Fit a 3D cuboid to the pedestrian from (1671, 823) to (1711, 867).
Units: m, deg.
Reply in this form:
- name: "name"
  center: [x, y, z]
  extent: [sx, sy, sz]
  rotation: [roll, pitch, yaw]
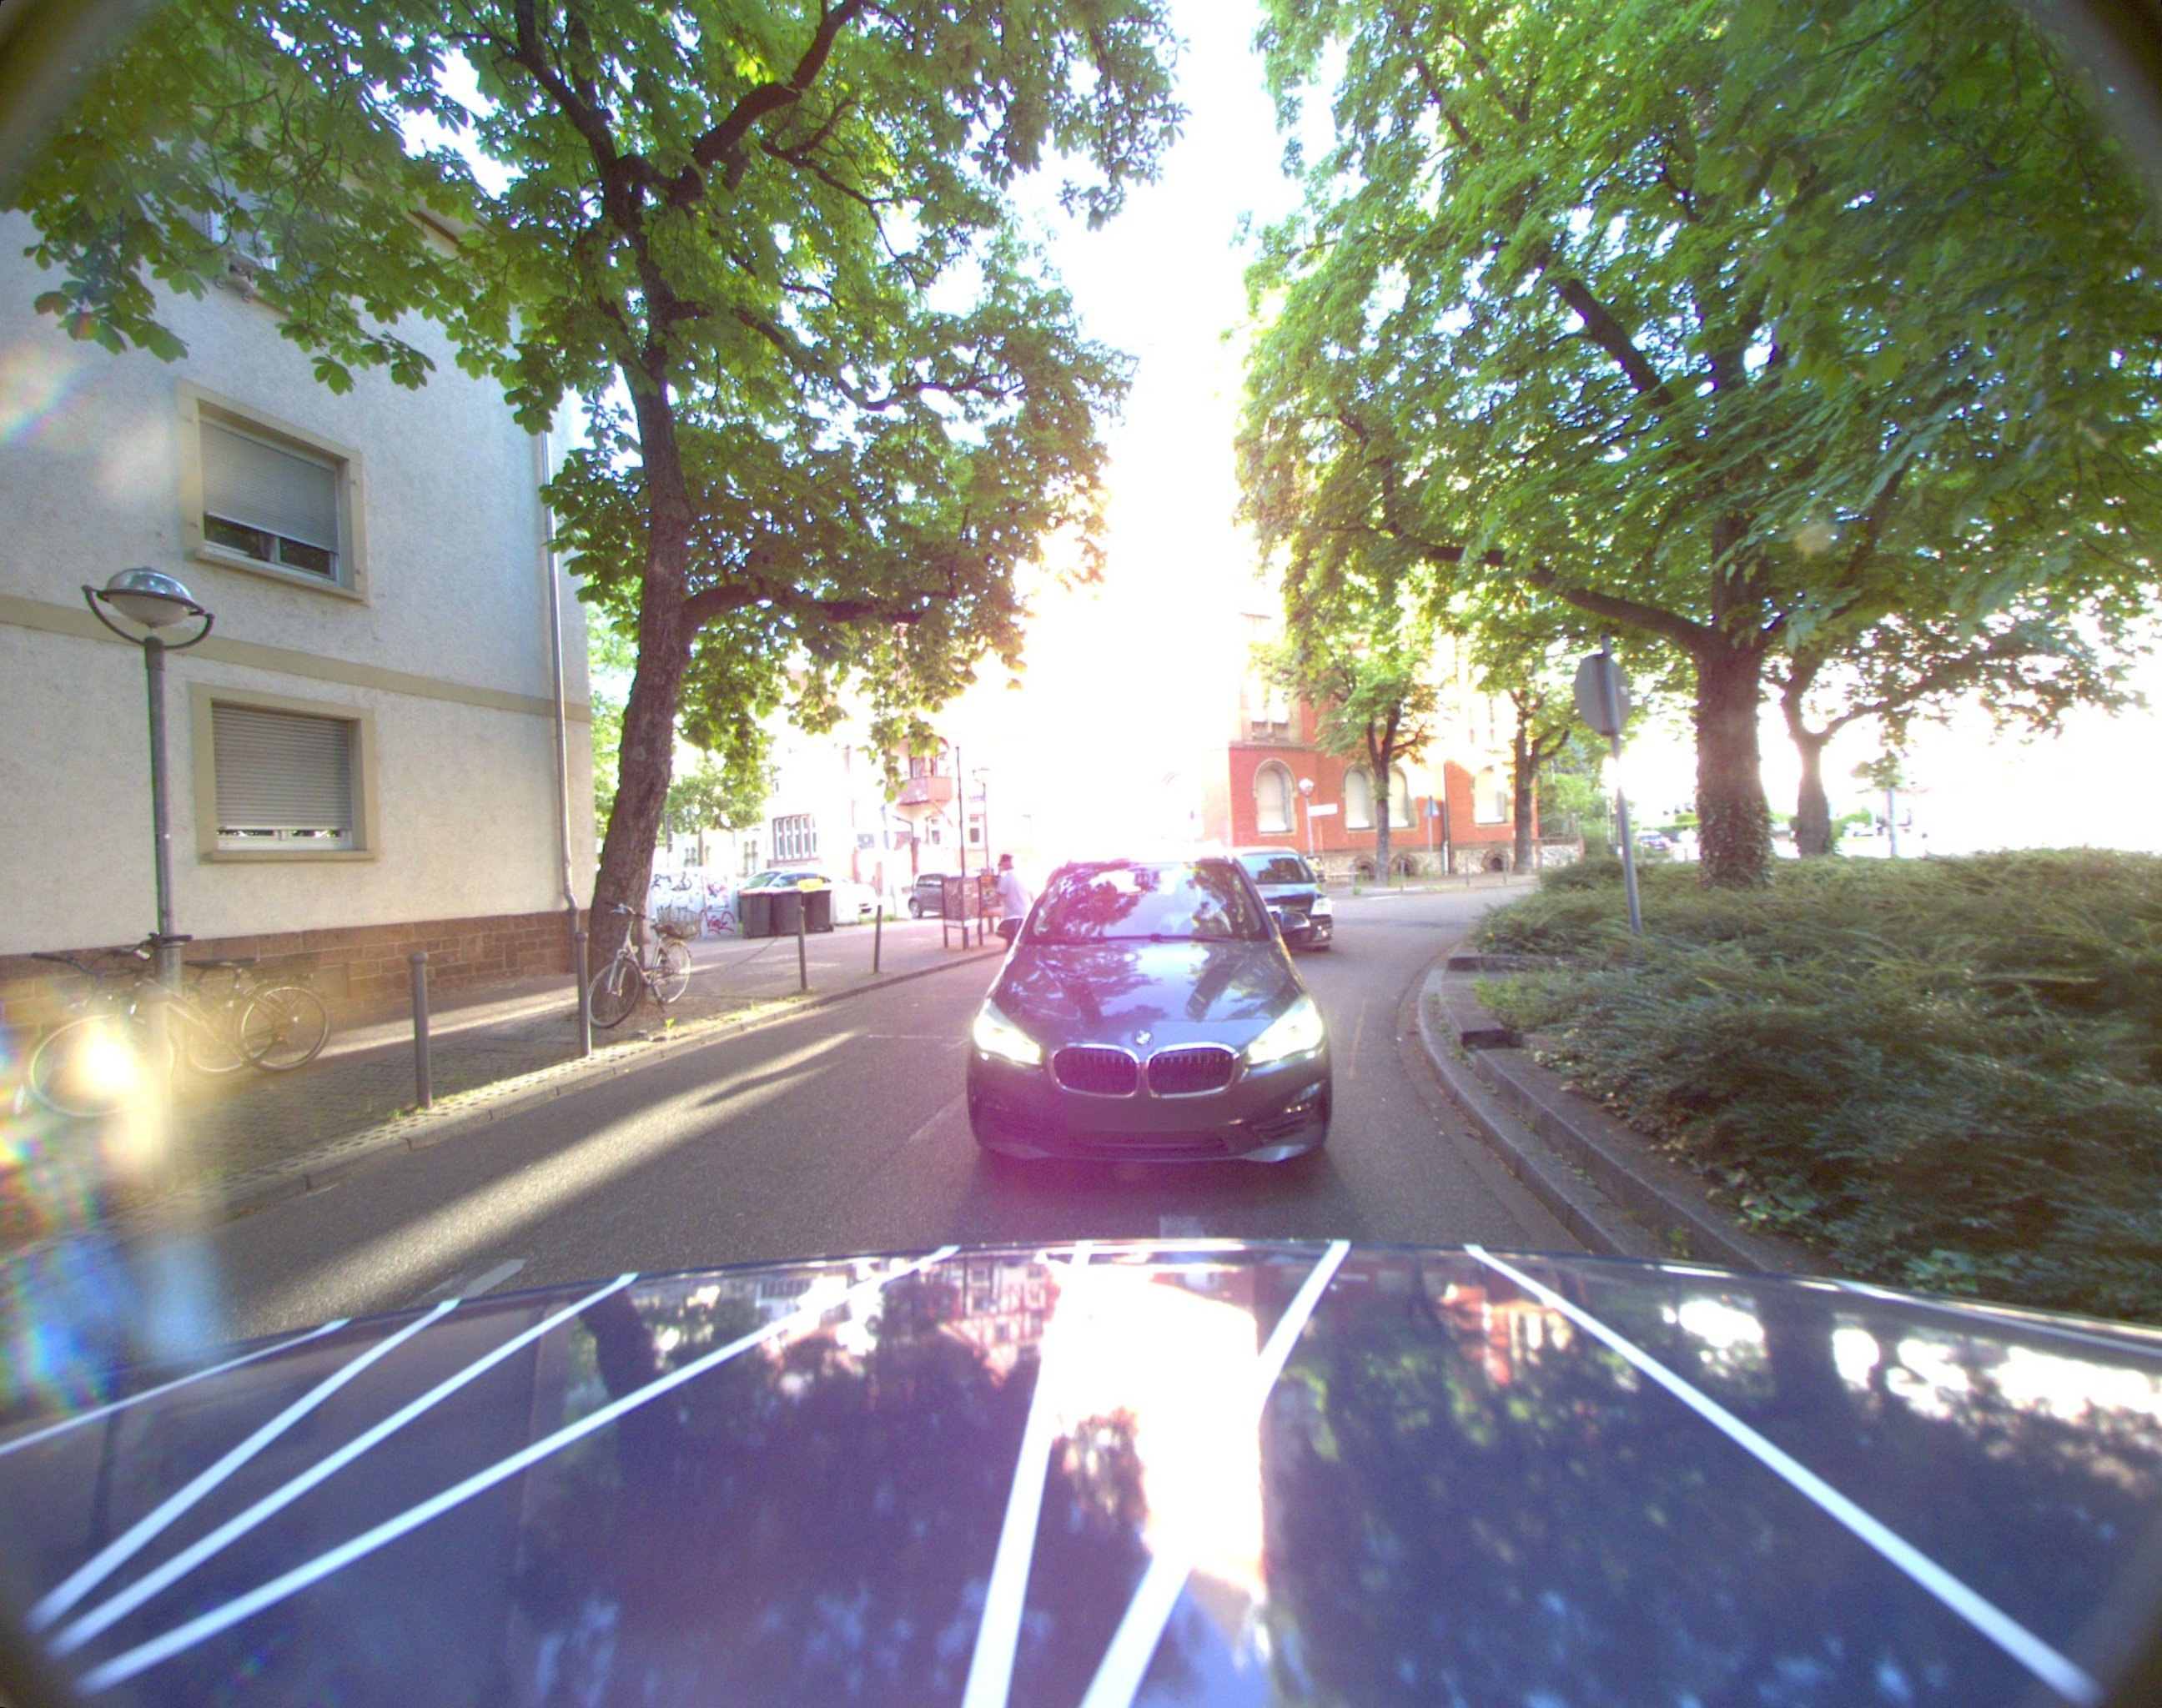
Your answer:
- name: "pedestrian"
  center: [24.095, -0.348, 30.015]
  extent: [0.905, 1.625, 0.725]
  rotation: [-5, 0, -13]

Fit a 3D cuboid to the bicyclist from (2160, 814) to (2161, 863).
- name: "bicyclist"
  center: [29.361, -0.315, 20.159]
  extent: [0.597, 1.564, 0.556]
  rotation: [-3, 0, 20]

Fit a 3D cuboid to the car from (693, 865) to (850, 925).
- name: "car"
  center: [-8.815, 1.138, 21.931]
  extent: [1.672, 1.417, 3.811]
  rotation: [-3, 0, 36]

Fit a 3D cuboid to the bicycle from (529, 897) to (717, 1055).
- name: "bicycle"
  center: [-4.609, 1.161, 7.847]
  extent: [0.767, 1.297, 1.903]
  rotation: [-3, 0, -1]

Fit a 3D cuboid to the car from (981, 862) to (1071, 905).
- name: "car"
  center: [-2.121, 1.118, 29.092]
  extent: [3.207, 1.530, 1.495]
  rotation: [-2, 0, 38]

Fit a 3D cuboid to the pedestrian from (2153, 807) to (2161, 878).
- name: "pedestrian"
  center: [25.389, -0.313, 17.324]
  extent: [0.905, 1.625, 0.725]
  rotation: [-5, 0, -13]

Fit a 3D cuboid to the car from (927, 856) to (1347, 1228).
- name: "car"
  center: [0.455, 0.851, 5.471]
  extent: [1.792, 1.569, 4.262]
  rotation: [-2, 0, 6]

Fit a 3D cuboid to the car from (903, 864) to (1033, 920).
- name: "car"
  center: [-3.602, 1.209, 23.886]
  extent: [4.041, 1.543, 1.700]
  rotation: [-3, 0, 39]

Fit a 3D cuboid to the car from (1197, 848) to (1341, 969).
- name: "car"
  center: [2.925, 0.759, 12.518]
  extent: [1.679, 1.619, 3.689]
  rotation: [-3, 0, 5]

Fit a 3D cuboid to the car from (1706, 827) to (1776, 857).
- name: "car"
  center: [35.050, -0.647, 40.447]
  extent: [1.733, 1.409, 4.006]
  rotation: [-3, 0, 25]

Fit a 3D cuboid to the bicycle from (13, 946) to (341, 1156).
- name: "bicycle"
  center: [-6.374, 1.316, 5.506]
  extent: [0.334, 1.087, 1.636]
  rotation: [-3, 0, 1]

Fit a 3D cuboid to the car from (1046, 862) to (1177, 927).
- name: "car"
  center: [0.691, 1.005, 19.206]
  extent: [1.474, 1.381, 3.394]
  rotation: [-6, 1, -34]

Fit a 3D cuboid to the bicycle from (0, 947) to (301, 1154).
- name: "bicycle"
  center: [-6.757, 1.330, 5.557]
  extent: [0.334, 1.087, 1.636]
  rotation: [-3, 0, 1]

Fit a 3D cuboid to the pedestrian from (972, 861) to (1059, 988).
- name: "pedestrian"
  center: [-0.856, 0.917, 10.063]
  extent: [0.944, 1.583, 0.643]
  rotation: [-3, 0, 8]

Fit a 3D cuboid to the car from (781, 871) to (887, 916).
- name: "car"
  center: [-9.560, 1.533, 29.236]
  extent: [4.175, 1.543, 1.809]
  rotation: [-3, -1, 39]
